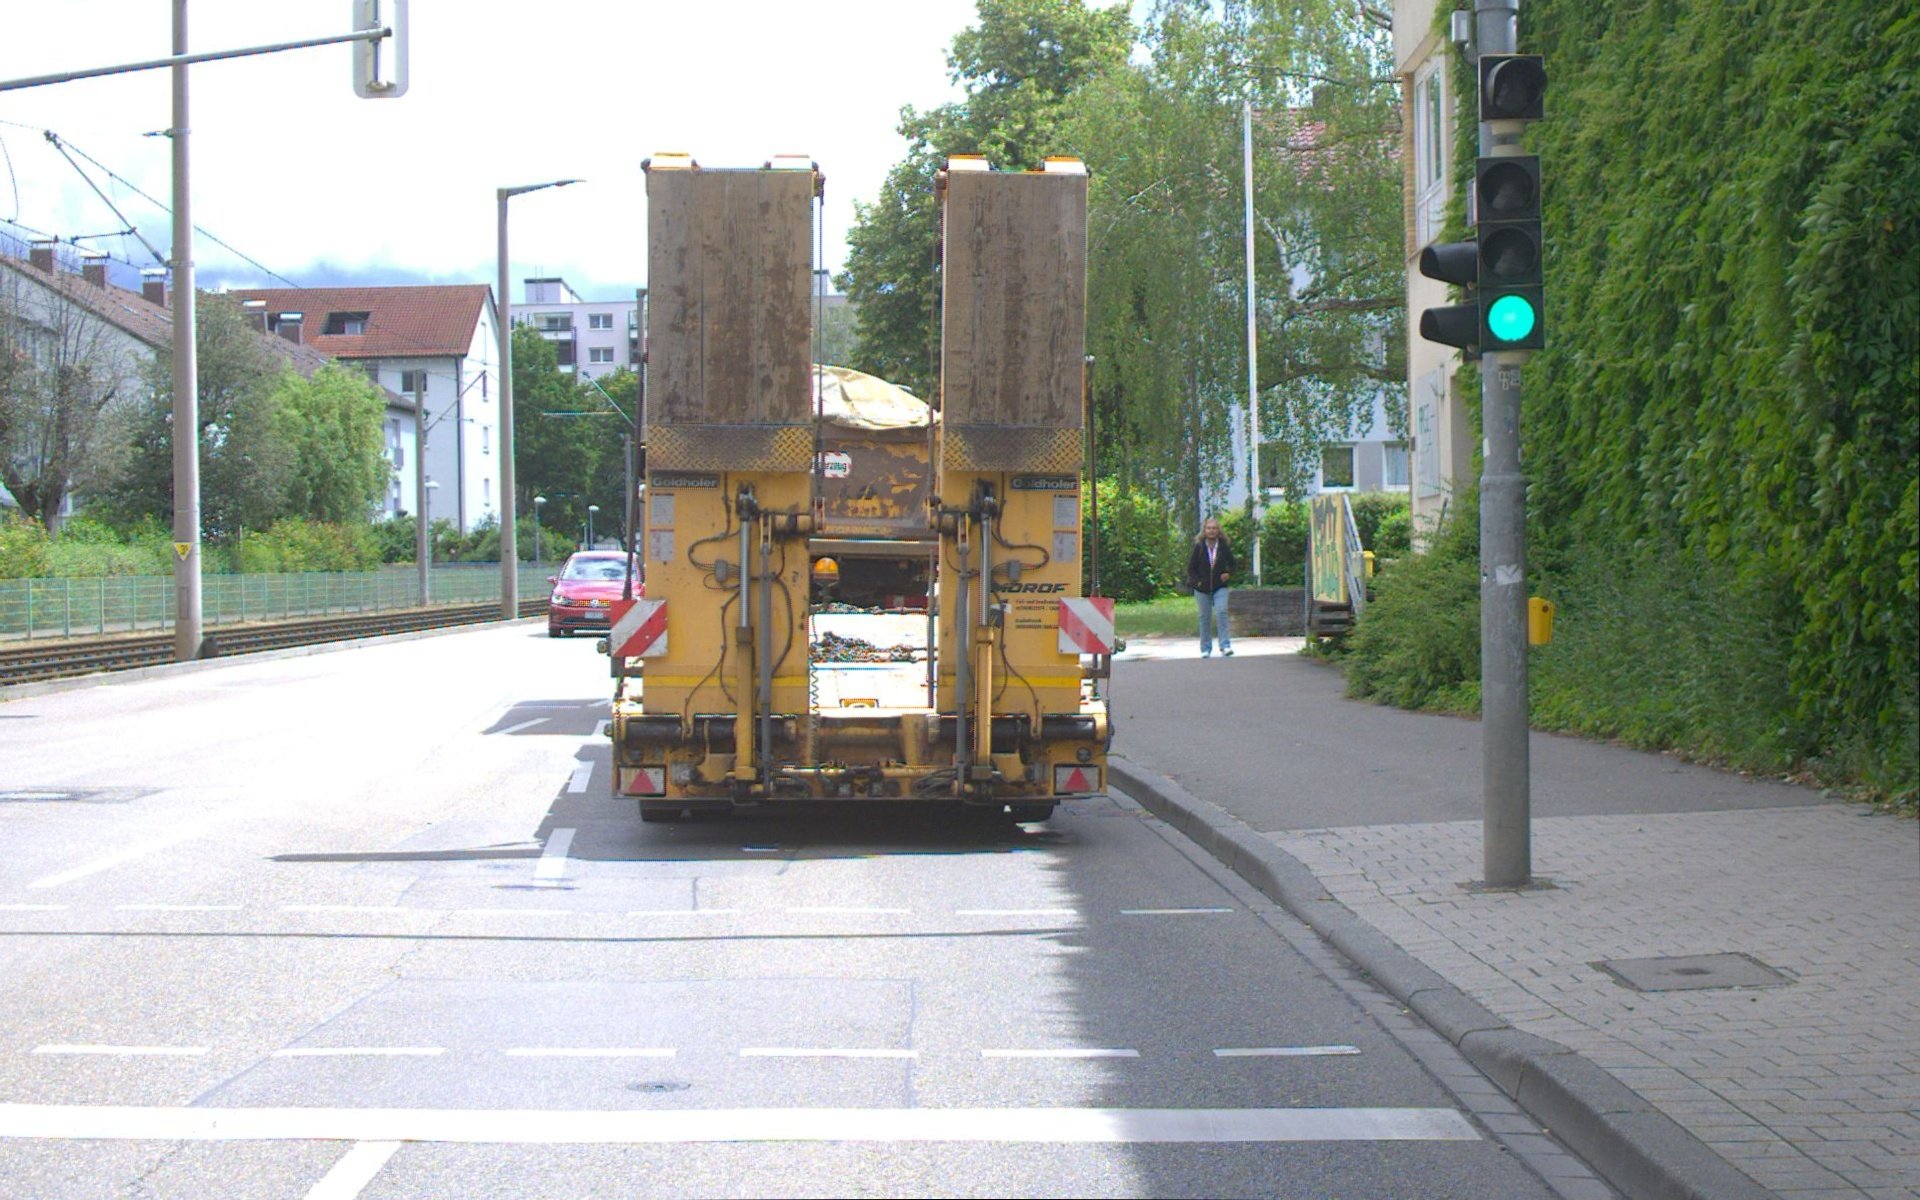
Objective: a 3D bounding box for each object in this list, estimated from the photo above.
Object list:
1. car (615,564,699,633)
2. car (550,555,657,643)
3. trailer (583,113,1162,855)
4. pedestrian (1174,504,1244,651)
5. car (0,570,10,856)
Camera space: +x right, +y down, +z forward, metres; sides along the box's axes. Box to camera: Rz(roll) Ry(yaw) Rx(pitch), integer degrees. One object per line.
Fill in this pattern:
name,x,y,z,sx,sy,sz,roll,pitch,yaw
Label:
car,-6.951,-0.057,79.086,1.760,1.547,4.000,0,0,-3
car,-6.568,-0.032,63.626,1.663,1.547,4.000,1,0,-2
trailer,-1.058,-0.619,23.226,2.826,3.633,12.356,1,0,-6
pedestrian,3.037,-0.274,41.910,0.809,1.765,0.816,1,0,6
car,-5.638,0.575,15.439,1.717,1.436,4.009,0,0,-1
